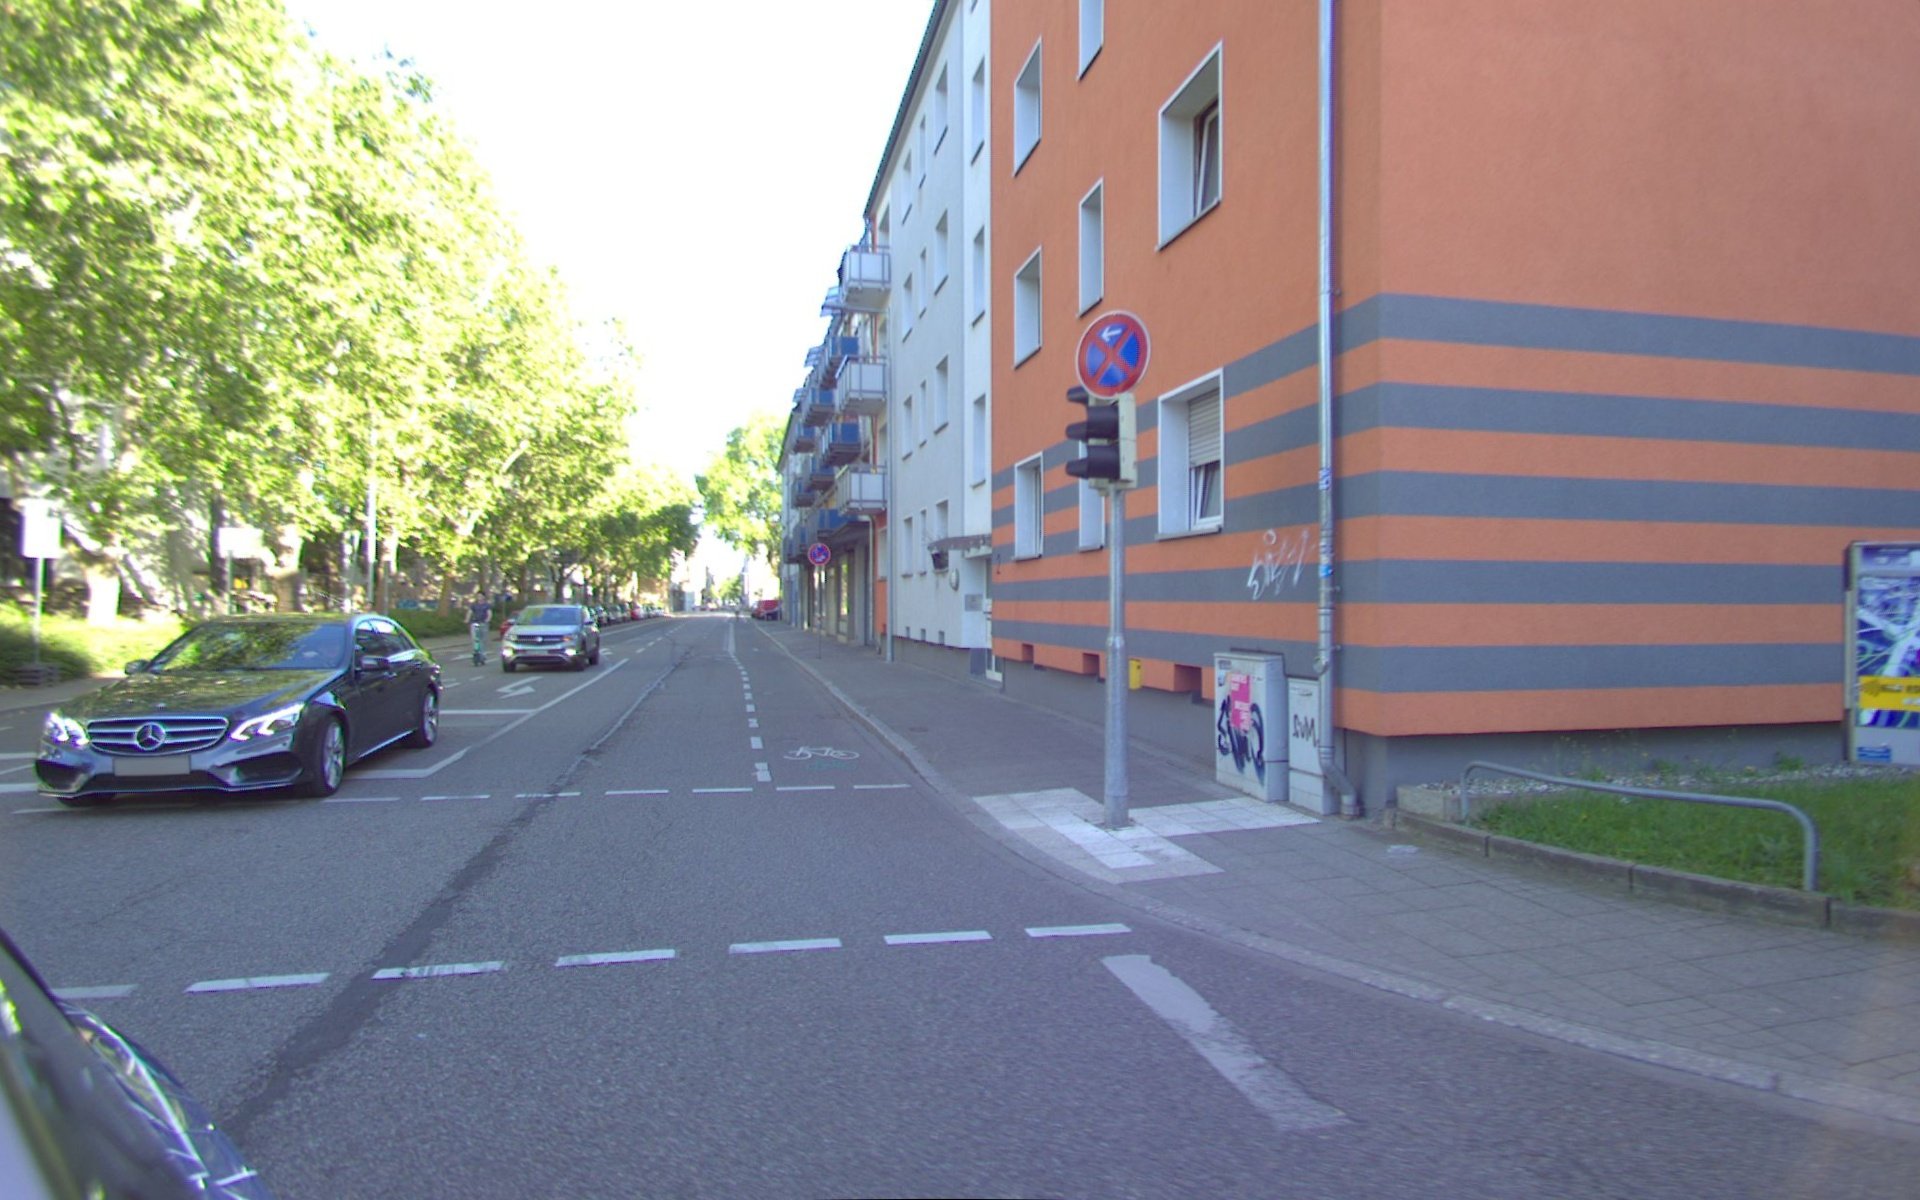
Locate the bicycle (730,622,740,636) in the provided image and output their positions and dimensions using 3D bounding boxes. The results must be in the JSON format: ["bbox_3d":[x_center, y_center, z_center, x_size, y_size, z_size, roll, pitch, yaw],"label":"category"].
[{"bbox_3d":[-18.826,2.429,84.674,0.681,0.993,2.639,0,1,-14],"label":"bicycle"}]

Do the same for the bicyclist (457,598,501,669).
[{"bbox_3d":[-12.349,0.849,25.994,0.758,1.745,0.903,-4,1,-14],"label":"bicyclist"}]

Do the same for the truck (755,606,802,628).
[{"bbox_3d":[-17.679,1.652,98.417,4.332,2.174,1.883,0,0,-14],"label":"truck"}]

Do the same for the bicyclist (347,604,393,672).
[{"bbox_3d":[-15.143,0.949,26.004,0.758,1.692,0.898,-1,0,-14],"label":"bicyclist"}]

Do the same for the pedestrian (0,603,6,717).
[{"bbox_3d":[-14.963,0.915,15.128,0.763,1.732,0.694,1,0,-14],"label":"pedestrian"}]

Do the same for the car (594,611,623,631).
[{"bbox_3d":[-29.752,1.763,85.817,1.868,1.664,4.087,0,-1,-12],"label":"car"}]

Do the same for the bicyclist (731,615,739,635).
[{"bbox_3d":[-18.838,2.093,84.703,0.681,1.643,0.761,0,1,-14],"label":"bicyclist"}]

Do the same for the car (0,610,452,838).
[{"bbox_3d":[-6.203,0.856,9.260,1.770,1.479,4.732,0,0,-14],"label":"car"}]

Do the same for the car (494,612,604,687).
[{"bbox_3d":[-9.712,1.103,24.185,1.719,1.616,4.009,0,0,-11],"label":"car"}]

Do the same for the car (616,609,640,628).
[{"bbox_3d":[-33.141,1.869,101.238,1.868,1.832,4.087,0,-1,-12],"label":"car"}]

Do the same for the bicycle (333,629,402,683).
[{"bbox_3d":[-15.129,1.391,25.930,0.758,1.144,2.823,-2,1,-15],"label":"bicycle"}]

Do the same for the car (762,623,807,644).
[{"bbox_3d":[-16.194,3.051,93.306,3.933,1.849,1.836,0,0,-14],"label":"car"}]

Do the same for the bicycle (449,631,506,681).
[{"bbox_3d":[-12.380,1.404,26.069,0.758,1.144,2.823,-1,0,-14],"label":"bicycle"}]

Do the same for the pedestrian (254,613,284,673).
[{"bbox_3d":[-18.864,1.171,27.649,0.455,1.606,0.684,0,0,-14],"label":"pedestrian"}]

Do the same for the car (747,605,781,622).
[{"bbox_3d":[-23.797,1.684,123.060,3.932,2.029,2.006,0,0,-15],"label":"car"}]

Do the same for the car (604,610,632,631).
[{"bbox_3d":[-30.544,1.805,90.527,1.868,1.865,4.087,0,-1,-12],"label":"car"}]

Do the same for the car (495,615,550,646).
[{"bbox_3d":[-21.371,1.476,49.580,1.868,1.454,4.088,0,-1,-14],"label":"car"}]
